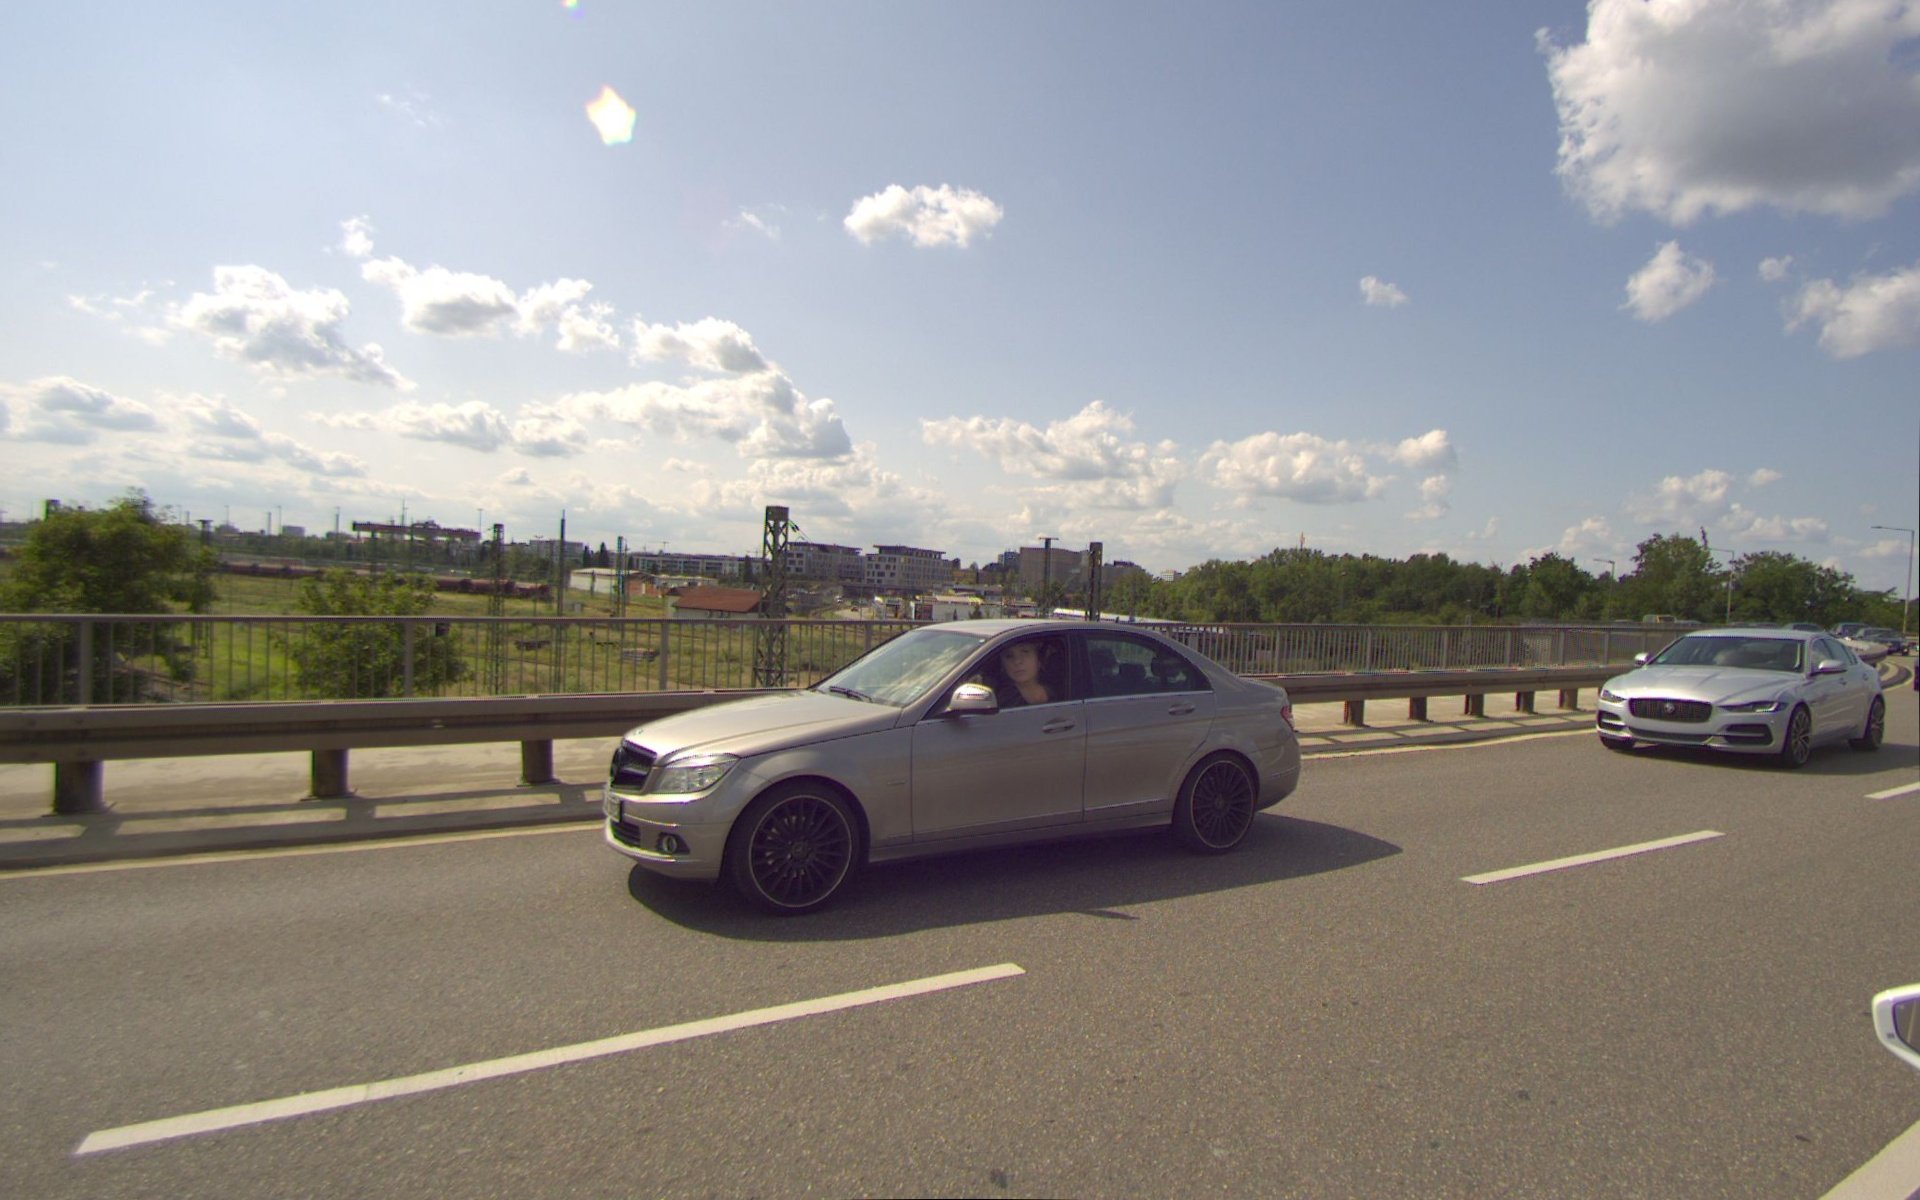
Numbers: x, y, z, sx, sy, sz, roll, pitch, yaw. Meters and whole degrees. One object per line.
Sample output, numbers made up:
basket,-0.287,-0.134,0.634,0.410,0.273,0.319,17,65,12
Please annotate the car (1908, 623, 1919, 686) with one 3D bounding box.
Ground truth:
car,24.434,1.307,24.282,4.289,1.473,1.646,1,-1,-39

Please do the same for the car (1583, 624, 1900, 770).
car,9.416,1.022,11.979,4.535,1.393,1.782,1,0,-36

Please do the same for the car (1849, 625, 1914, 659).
car,47.847,2.142,52.235,1.659,1.618,4.274,0,-1,31

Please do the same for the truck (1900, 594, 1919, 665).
truck,35.676,1.071,36.190,1.968,2.541,5.926,0,-1,36

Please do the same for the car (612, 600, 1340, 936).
car,0.239,0.788,6.268,4.288,1.468,1.739,2,-1,-31
